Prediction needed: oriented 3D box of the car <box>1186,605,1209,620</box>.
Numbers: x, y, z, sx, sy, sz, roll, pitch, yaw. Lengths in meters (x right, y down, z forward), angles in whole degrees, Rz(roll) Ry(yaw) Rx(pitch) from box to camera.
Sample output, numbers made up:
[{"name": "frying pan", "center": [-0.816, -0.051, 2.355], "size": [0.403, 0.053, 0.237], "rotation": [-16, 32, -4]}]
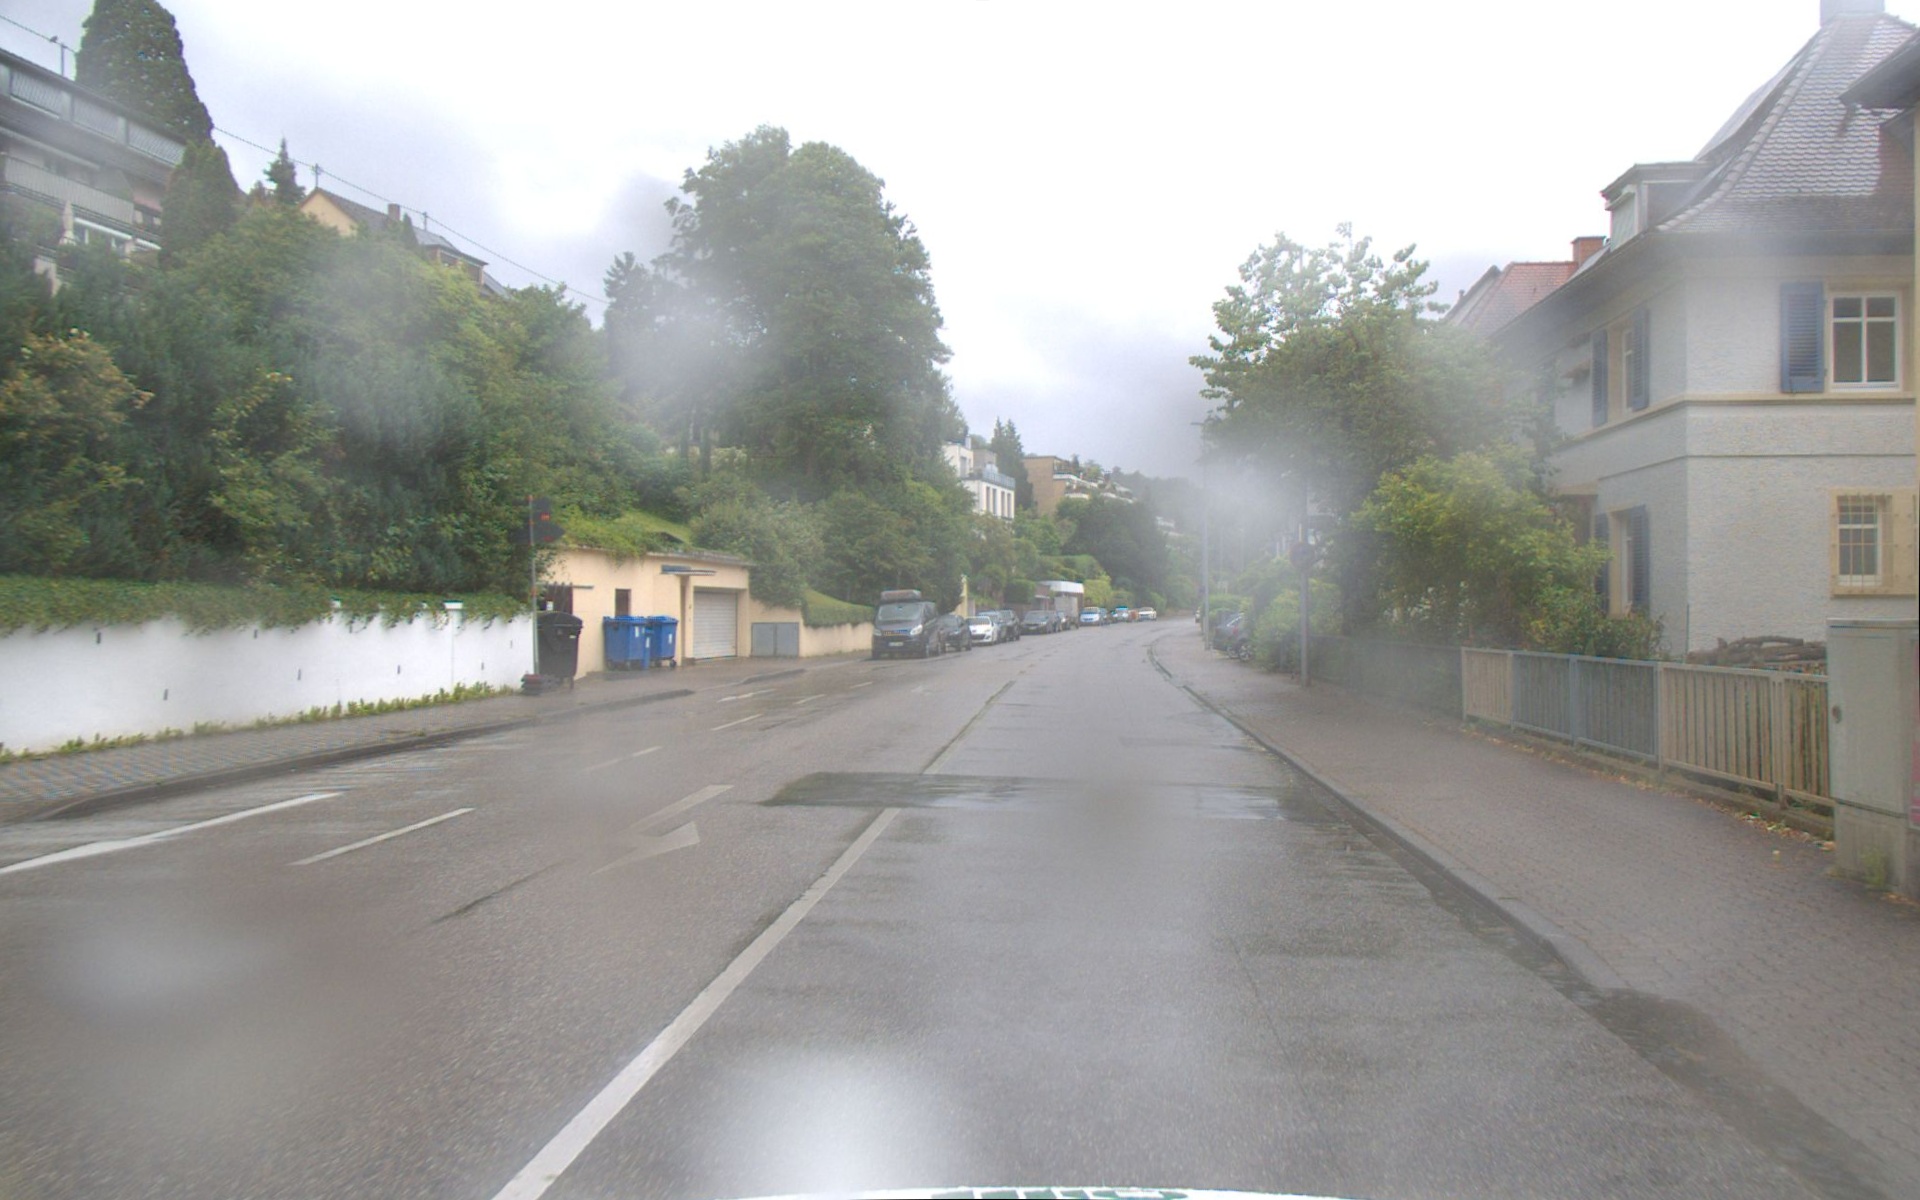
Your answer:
[{"name": "car", "center": [23.238, 1.233, 161.433], "size": [1.751, 1.485, 4.311], "rotation": [0, -1, 14]}]

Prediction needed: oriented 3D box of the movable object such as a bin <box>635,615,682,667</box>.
[{"name": "movable object such as a bin", "center": [-8.039, 1.086, 44.148], "size": [0.803, 1.337, 1.403], "rotation": [0, 0, 9]}]

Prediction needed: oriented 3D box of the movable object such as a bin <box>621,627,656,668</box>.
[{"name": "movable object such as a bin", "center": [-8.323, 1.227, 42.869], "size": [0.720, 1.060, 0.608], "rotation": [0, -1, 9]}]

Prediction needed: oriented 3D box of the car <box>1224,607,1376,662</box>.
[{"name": "car", "center": [9.688, 0.957, 47.256], "size": [3.925, 1.482, 1.763], "rotation": [0, 0, 40]}]

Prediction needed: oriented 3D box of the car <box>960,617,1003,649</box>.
[{"name": "car", "center": [1.086, 1.580, 80.189], "size": [1.680, 1.389, 4.086], "rotation": [-3, 0, 5]}]

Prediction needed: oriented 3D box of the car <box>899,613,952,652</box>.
[{"name": "car", "center": [-1.304, 1.245, 63.700], "size": [1.531, 1.388, 3.910], "rotation": [-2, -1, 6]}]

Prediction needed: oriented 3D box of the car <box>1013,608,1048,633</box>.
[{"name": "car", "center": [4.640, 1.325, 107.946], "size": [1.747, 1.480, 4.759], "rotation": [-3, 0, 8]}]

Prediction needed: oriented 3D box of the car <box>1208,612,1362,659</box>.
[{"name": "car", "center": [9.954, 1.083, 50.816], "size": [4.301, 1.388, 1.909], "rotation": [0, -2, 40]}]

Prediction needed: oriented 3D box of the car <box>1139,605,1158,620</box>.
[{"name": "car", "center": [20.595, 1.372, 180.639], "size": [1.718, 1.524, 4.223], "rotation": [-2, -1, 12]}]

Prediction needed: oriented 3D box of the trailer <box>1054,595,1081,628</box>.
[{"name": "trailer", "center": [8.209, 0.853, 125.881], "size": [1.504, 2.441, 3.075], "rotation": [-3, -1, 13]}]

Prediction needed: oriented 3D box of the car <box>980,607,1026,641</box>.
[{"name": "car", "center": [2.377, 1.288, 90.076], "size": [1.834, 1.654, 4.597], "rotation": [-4, 0, 9]}]

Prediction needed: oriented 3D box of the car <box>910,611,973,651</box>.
[{"name": "car", "center": [-0.725, 1.290, 69.304], "size": [1.868, 1.506, 4.759], "rotation": [-3, -1, 8]}]

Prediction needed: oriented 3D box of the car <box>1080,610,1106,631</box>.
[{"name": "car", "center": [11.232, 1.741, 139.669], "size": [1.718, 1.566, 3.760], "rotation": [-4, 0, 11]}]

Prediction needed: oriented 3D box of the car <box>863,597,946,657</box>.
[{"name": "car", "center": [-1.901, 0.943, 58.575], "size": [2.112, 1.952, 5.327], "rotation": [-2, -1, 7]}]

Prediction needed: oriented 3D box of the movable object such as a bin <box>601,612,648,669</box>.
[{"name": "movable object such as a bin", "center": [-8.504, 1.013, 41.966], "size": [0.803, 1.406, 1.135], "rotation": [0, 0, 9]}]

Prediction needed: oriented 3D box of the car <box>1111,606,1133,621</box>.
[{"name": "car", "center": [15.924, 1.302, 162.021], "size": [1.718, 1.427, 3.773], "rotation": [-3, -1, 11]}]

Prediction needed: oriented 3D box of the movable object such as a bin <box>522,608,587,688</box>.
[{"name": "movable object such as a bin", "center": [-7.801, 0.928, 31.848], "size": [0.913, 1.470, 0.862], "rotation": [3, -2, 4]}]
